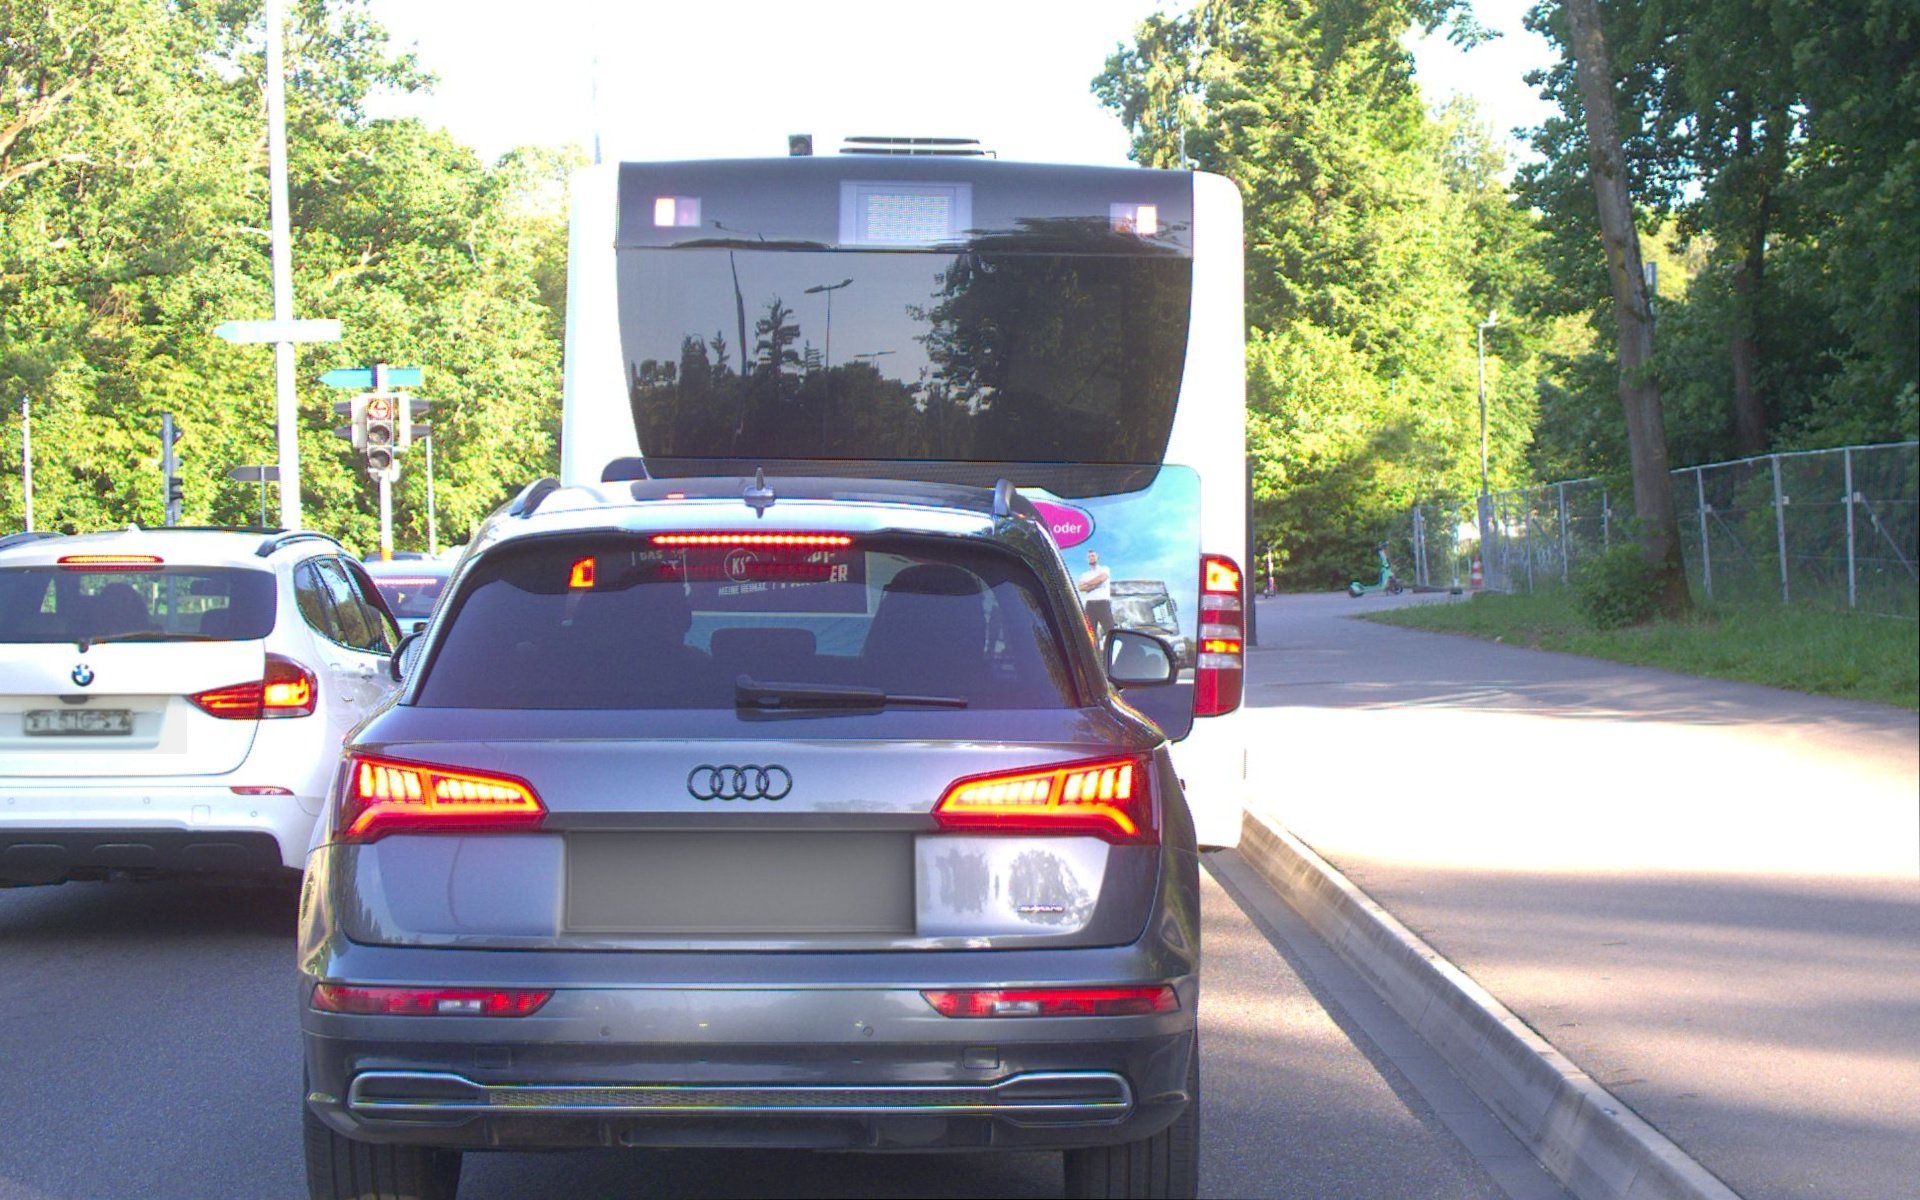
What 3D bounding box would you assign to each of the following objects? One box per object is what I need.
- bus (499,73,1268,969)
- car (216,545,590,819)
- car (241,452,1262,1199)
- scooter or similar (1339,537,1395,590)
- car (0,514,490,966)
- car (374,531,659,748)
[{"bbox_3d":[-0.242,-0.356,15.095,2.678,3.131,5.882,1,2,1],"label":"bus"},{"bbox_3d":[-3.296,0.418,21.057,1.785,1.439,4.278,1,2,-3],"label":"car"},{"bbox_3d":[-0.411,0.513,8.352,1.868,1.658,4.000,1,2,-1],"label":"car"},{"bbox_3d":[9.226,-0.839,77.930,1.184,1.170,0.659,1,1,11],"label":"scooter or similar"},{"bbox_3d":[-3.102,0.469,14.295,1.718,1.575,4.434,1,0,-1],"label":"car"},{"bbox_3d":[-3.487,0.258,27.681,1.808,1.567,4.000,1,2,-1],"label":"car"}]
